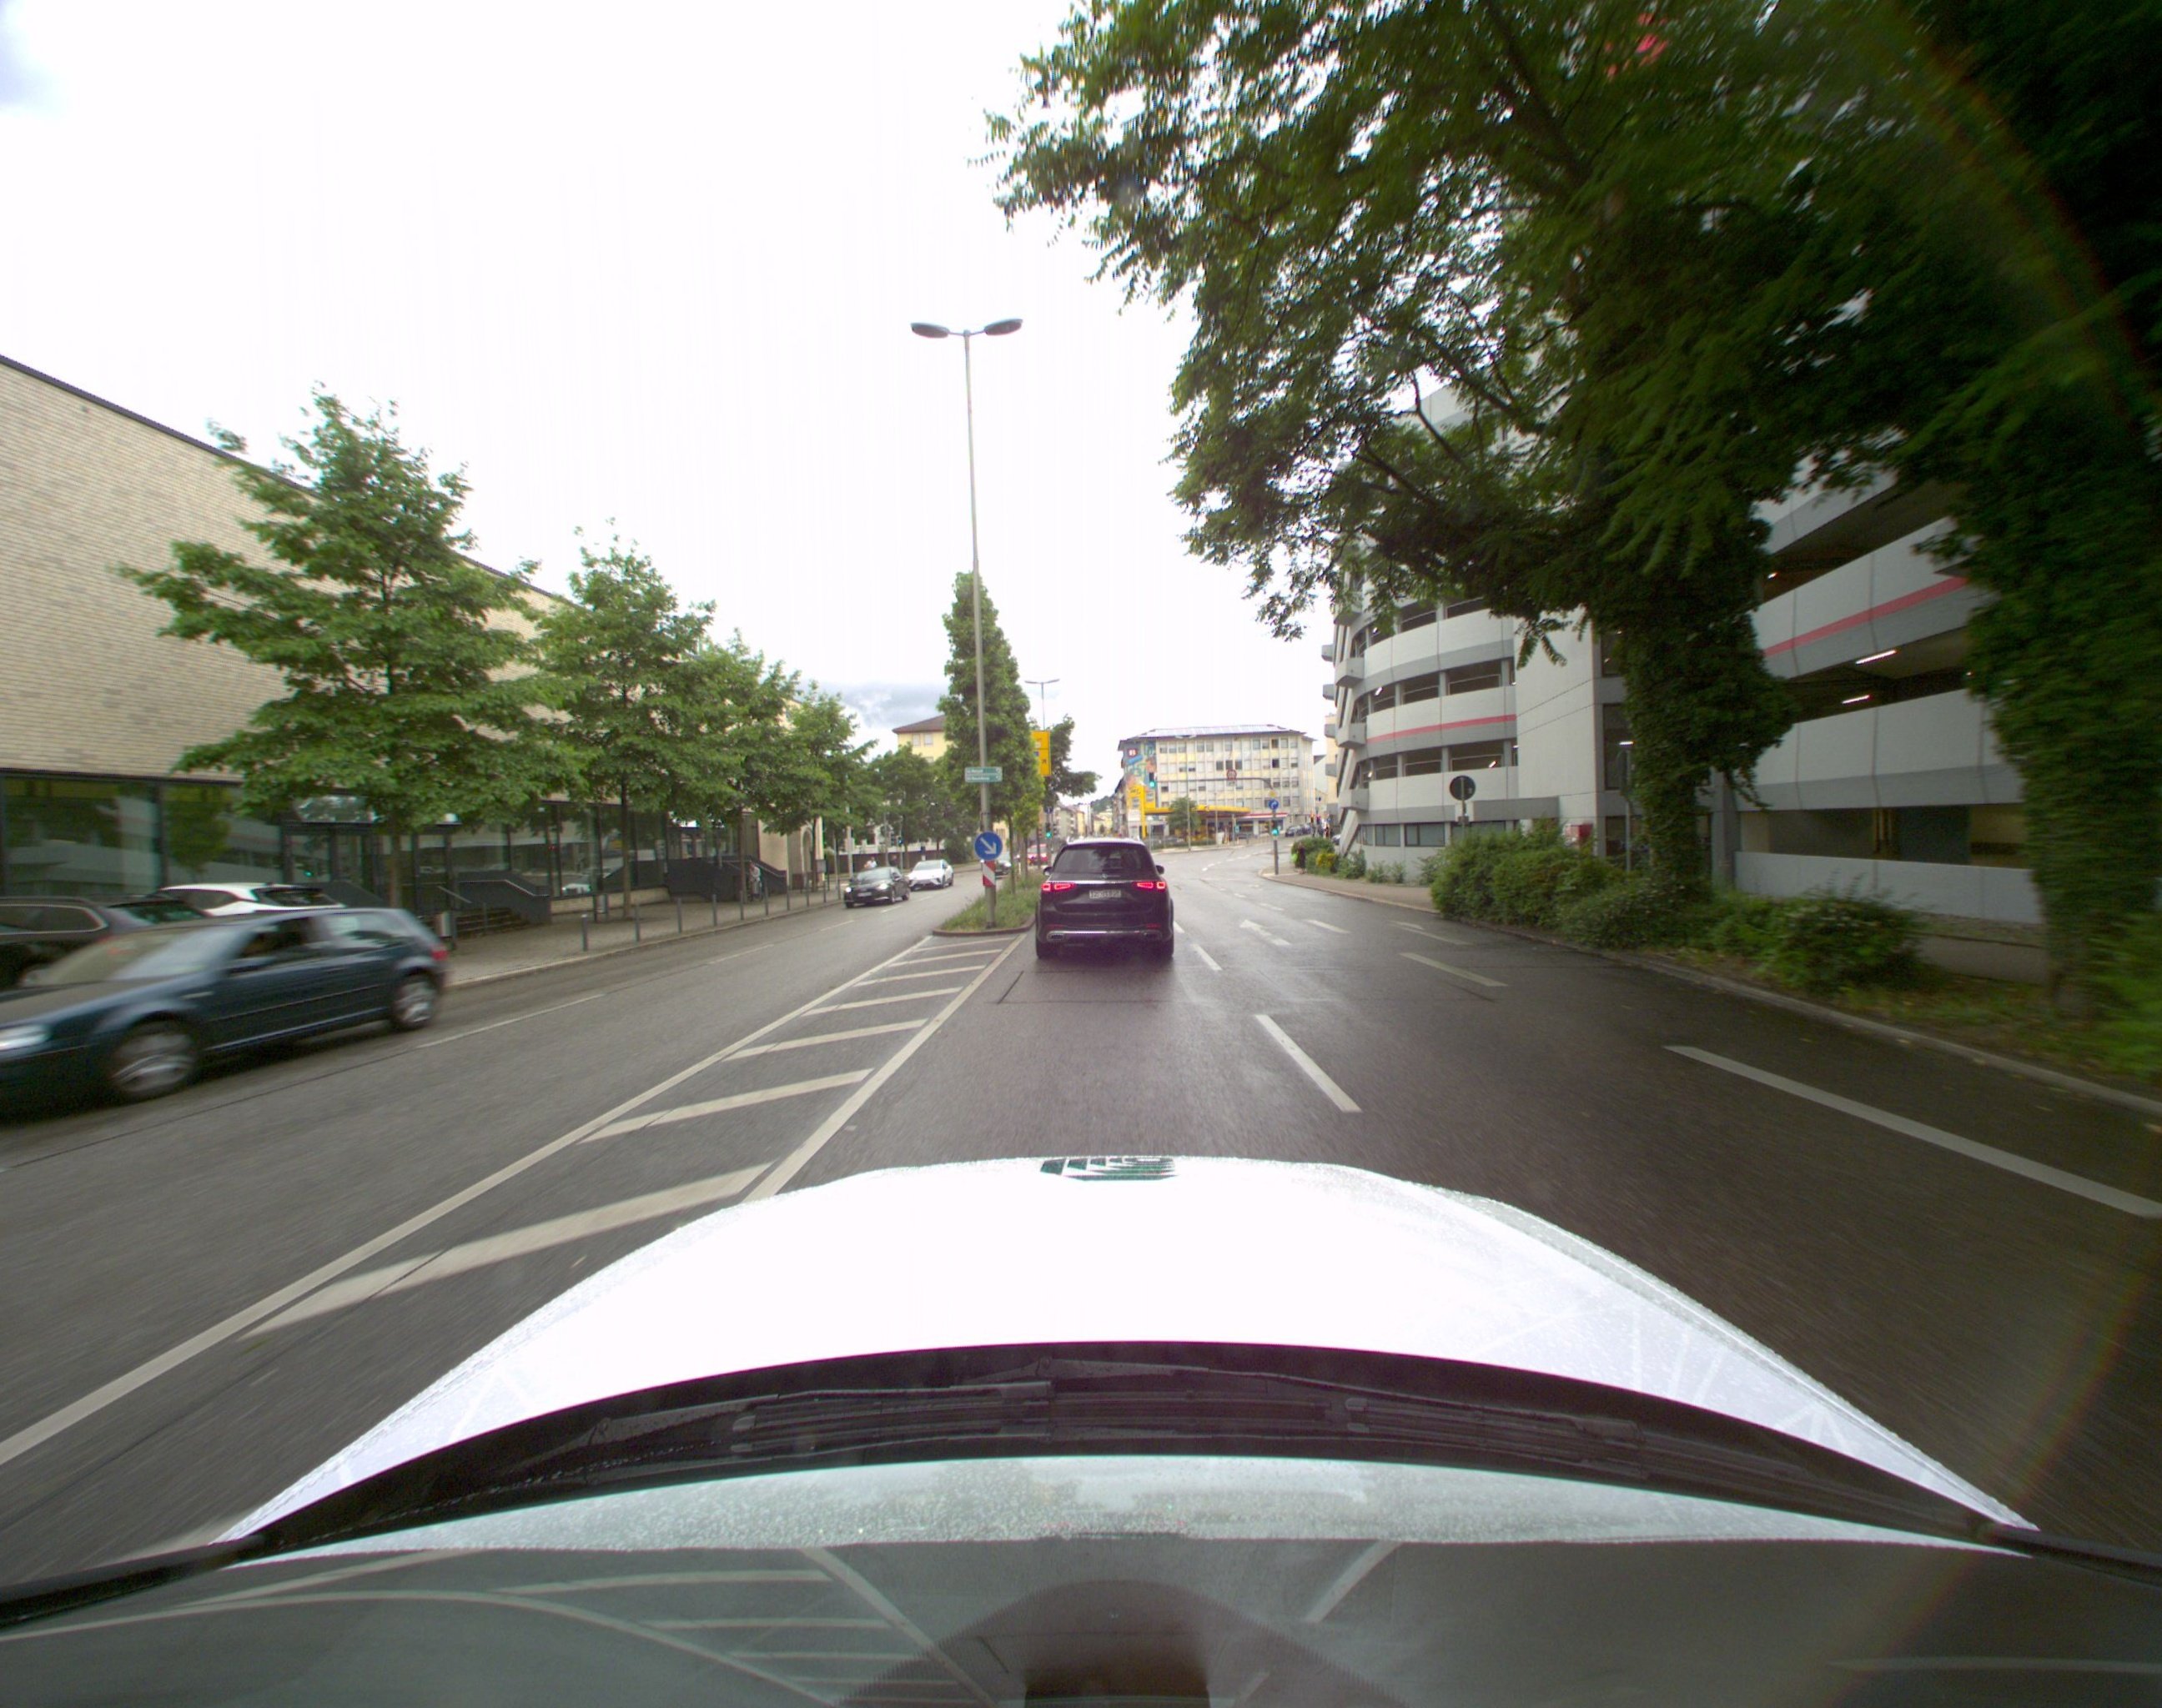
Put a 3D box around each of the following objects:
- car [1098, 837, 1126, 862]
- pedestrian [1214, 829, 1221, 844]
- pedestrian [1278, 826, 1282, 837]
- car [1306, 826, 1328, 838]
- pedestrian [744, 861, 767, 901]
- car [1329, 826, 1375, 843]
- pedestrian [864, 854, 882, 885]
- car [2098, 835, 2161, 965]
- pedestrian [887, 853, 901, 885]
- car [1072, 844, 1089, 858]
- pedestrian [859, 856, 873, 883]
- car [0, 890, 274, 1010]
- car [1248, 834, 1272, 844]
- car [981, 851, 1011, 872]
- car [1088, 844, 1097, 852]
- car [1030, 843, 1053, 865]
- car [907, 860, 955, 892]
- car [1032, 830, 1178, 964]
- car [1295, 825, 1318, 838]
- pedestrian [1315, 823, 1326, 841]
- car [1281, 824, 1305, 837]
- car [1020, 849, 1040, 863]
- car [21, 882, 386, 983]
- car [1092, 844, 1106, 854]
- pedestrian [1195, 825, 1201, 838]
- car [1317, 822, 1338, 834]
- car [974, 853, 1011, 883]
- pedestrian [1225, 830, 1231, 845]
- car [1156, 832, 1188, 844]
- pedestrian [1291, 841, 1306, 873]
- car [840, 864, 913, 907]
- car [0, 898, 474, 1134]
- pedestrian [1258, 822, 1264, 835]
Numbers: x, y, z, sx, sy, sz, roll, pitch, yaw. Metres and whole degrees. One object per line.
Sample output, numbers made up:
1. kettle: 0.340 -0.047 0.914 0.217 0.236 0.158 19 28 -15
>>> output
1. car: 2.254 -0.312 59.978 1.986 1.800 4.001 0 -1 2
2. pedestrian: 16.817 -2.157 100.236 0.521 1.727 0.693 -2 0 28
3. pedestrian: 28.923 -3.230 118.179 0.478 1.641 0.441 -1 -1 30
4. car: 36.281 -3.333 125.376 1.974 1.705 4.026 -3 1 35
5. pedestrian: -13.865 1.128 34.681 0.641 1.666 1.017 0 -1 -4
6. car: 27.354 -1.939 82.322 4.160 1.439 1.863 -3 1 8
7. pedestrian: -11.722 0.866 45.854 0.605 1.656 0.696 -2 1 33
8. car: 16.571 0.593 10.801 3.431 1.783 1.823 -2 0 14
9. pedestrian: -10.838 0.864 47.115 0.687 1.757 0.716 -2 0 -9
10. car: -0.084 -0.339 98.703 1.987 1.614 4.189 0 -1 0
11. pedestrian: -12.452 0.885 47.192 0.434 1.534 0.549 -2 1 33
12. car: -14.734 1.310 11.649 4.169 1.495 1.996 0 -1 -5
13. car: 27.758 -2.272 126.215 1.974 1.398 4.025 -1 -1 40
14. car: -7.155 0.628 68.969 1.882 1.586 4.536 -4 0 0
15. car: 2.859 -1.473 203.223 1.985 2.014 4.002 0 -1 2
16. car: -3.641 -0.022 75.681 1.787 1.854 4.791 -4 0 -1
17. car: -8.001 1.136 43.810 1.727 1.469 4.230 -4 0 -1
18. car: 0.387 0.606 13.086 1.986 1.800 4.001 0 -1 2
19. car: 33.557 -3.362 121.219 1.974 1.705 4.026 -3 1 35
20. pedestrian: 28.966 -2.674 98.576 0.853 2.128 0.947 -3 0 -4
21. car: 30.512 -3.389 117.019 1.974 1.705 4.026 -3 1 35
22. car: -5.746 0.220 92.636 1.840 1.429 4.436 -4 1 1
23. car: -14.833 1.292 13.956 4.158 1.547 2.001 0 -1 3
24. car: 2.839 -0.758 129.222 1.984 1.547 4.194 0 -1 4
25. pedestrian: 16.443 -3.149 114.823 0.521 1.727 0.693 -2 0 31
26. car: 39.554 -4.181 130.387 1.974 1.705 4.026 -3 1 35
27. car: -5.436 0.813 50.441 1.727 1.625 4.230 -4 0 -1
28. pedestrian: 17.862 -2.002 98.966 0.570 1.697 0.631 0 -1 3
29. car: 11.992 -2.132 107.362 1.747 1.376 3.952 -3 1 -42
30. pedestrian: 11.826 0.162 44.229 0.639 1.710 0.474 -2 -2 38
31. car: -7.832 1.160 31.598 1.727 1.393 4.198 -4 0 -1
32. car: -8.113 1.293 7.660 1.740 1.412 3.970 -4 0 0
33. pedestrian: 25.417 -3.597 115.041 0.521 1.727 0.693 -2 0 28
